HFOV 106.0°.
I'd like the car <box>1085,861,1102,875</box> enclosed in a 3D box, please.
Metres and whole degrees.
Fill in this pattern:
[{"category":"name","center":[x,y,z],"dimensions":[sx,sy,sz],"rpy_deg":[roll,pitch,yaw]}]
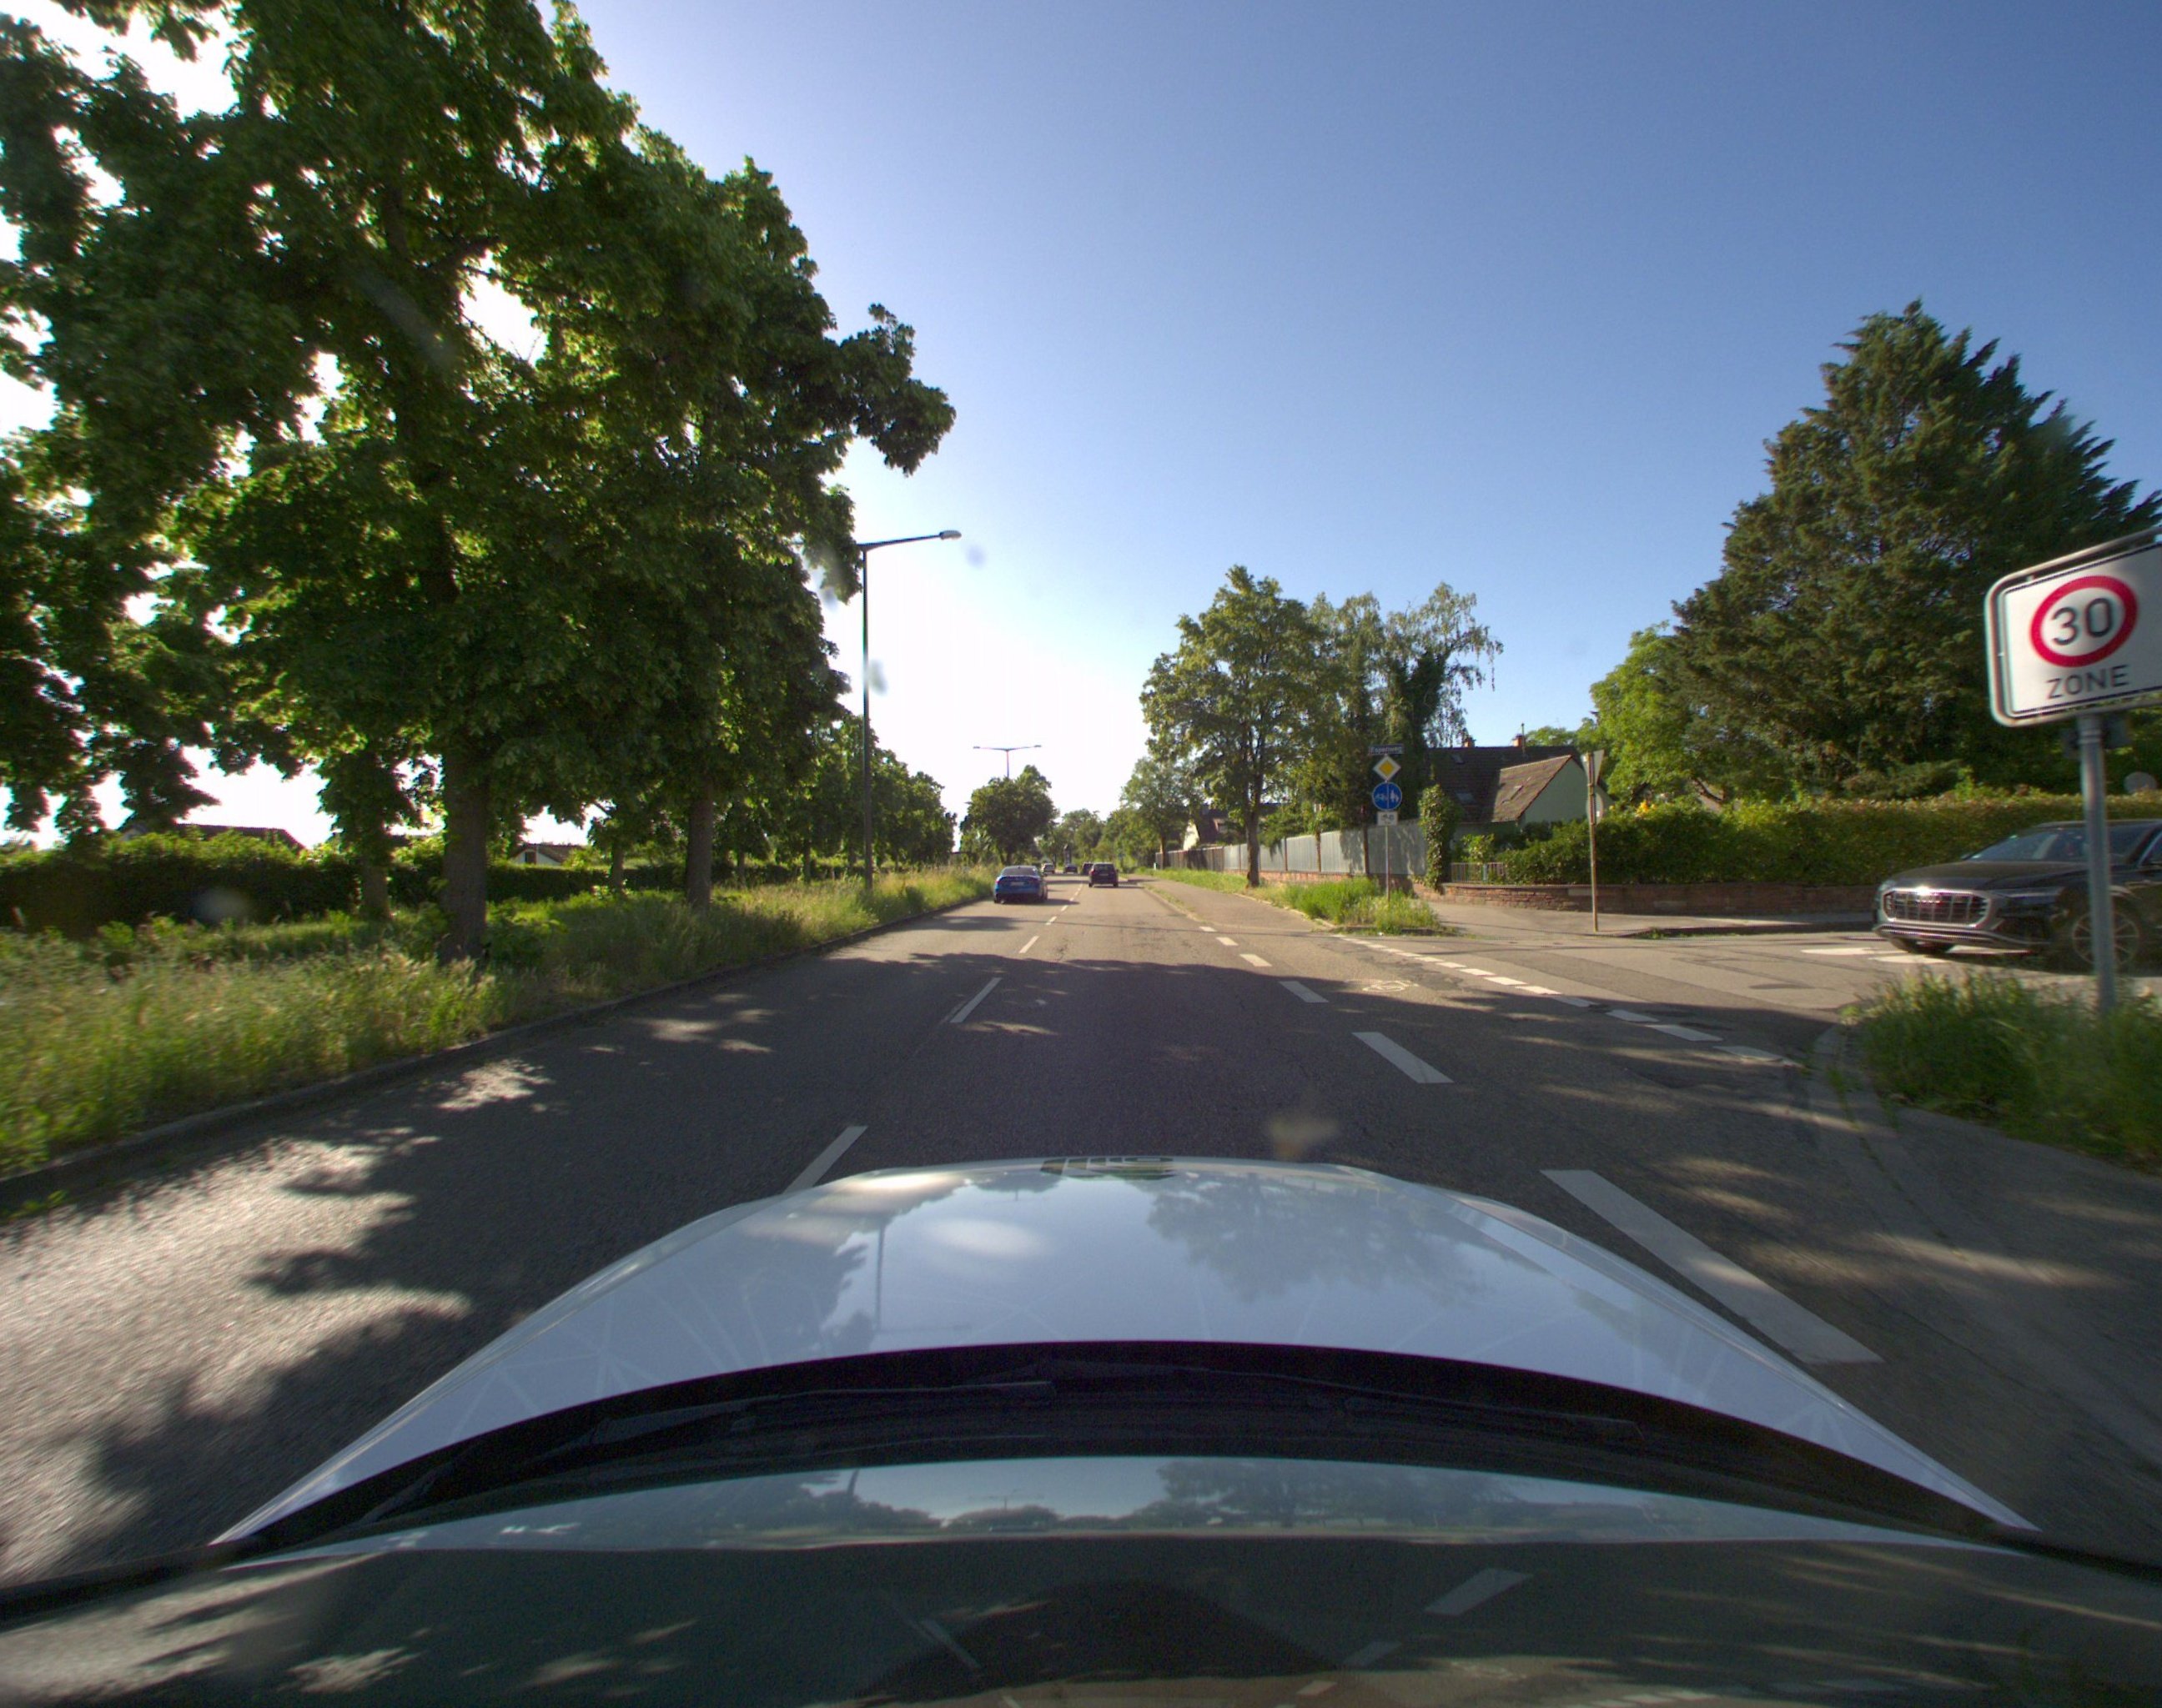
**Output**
[{"category":"car","center":[1.418,1.653,96.130],"dimensions":[1.910,1.579,4.180],"rpy_deg":[0,-1,-1]}]

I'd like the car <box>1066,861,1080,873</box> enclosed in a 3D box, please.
[{"category":"car","center":[-1.252,1.955,120.823],"dimensions":[1.911,1.678,4.007],"rpy_deg":[0,-1,-3]}]

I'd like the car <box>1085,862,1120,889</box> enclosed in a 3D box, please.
[{"category":"car","center":[1.256,1.301,49.503],"dimensions":[1.910,1.579,4.178],"rpy_deg":[0,-1,-2]}]

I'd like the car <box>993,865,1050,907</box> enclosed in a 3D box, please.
[{"category":"car","center":[-2.247,1.192,31.789],"dimensions":[1.832,1.474,4.183],"rpy_deg":[-2,-1,0]}]

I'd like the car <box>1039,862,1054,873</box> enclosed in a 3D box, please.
[{"category":"car","center":[-4.943,1.978,117.102],"dimensions":[1.909,1.512,4.066],"rpy_deg":[-1,-1,0]}]

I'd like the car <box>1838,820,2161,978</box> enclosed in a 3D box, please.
[{"category":"car","center":[12.503,0.439,9.997],"dimensions":[4.734,1.656,2.068],"rpy_deg":[-2,0,-5]}]
